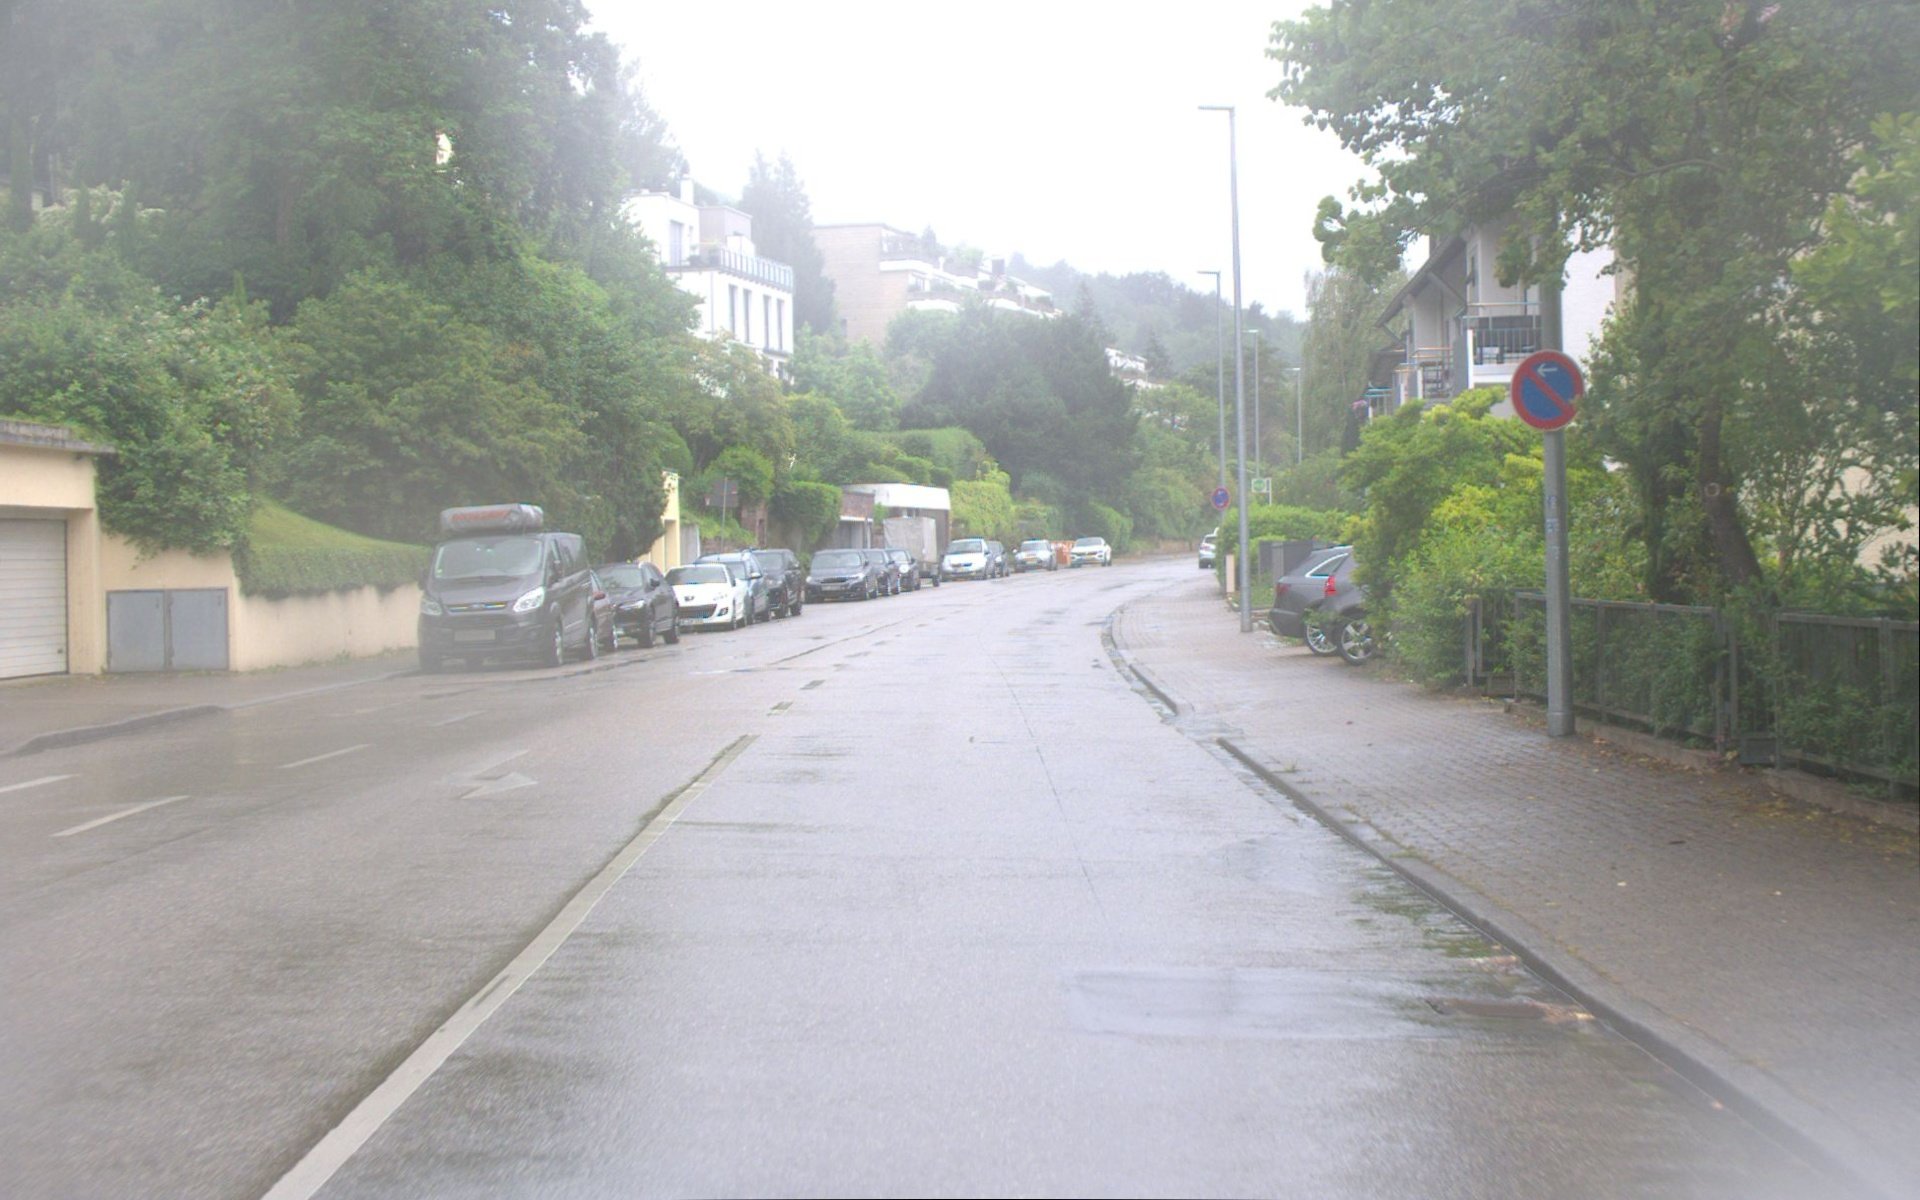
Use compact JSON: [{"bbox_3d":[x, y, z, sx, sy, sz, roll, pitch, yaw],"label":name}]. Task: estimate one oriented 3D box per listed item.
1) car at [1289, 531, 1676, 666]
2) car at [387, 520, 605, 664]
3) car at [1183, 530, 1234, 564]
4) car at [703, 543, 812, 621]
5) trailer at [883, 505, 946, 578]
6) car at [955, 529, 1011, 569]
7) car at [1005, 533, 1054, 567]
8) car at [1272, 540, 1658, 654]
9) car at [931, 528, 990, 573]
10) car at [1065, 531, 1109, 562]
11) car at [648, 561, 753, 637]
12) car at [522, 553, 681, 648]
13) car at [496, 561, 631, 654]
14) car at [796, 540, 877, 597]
[{"bbox_3d":[5.965,-0.026,39.409,3.995,1.452,1.768,0,2,35],"label":"car"},{"bbox_3d":[-6.669,-0.146,50.060,2.158,1.912,5.323,-2,1,3],"label":"car"},{"bbox_3d":[11.140,-2.388,153.921,1.790,1.455,4.306,-1,1,10],"label":"car"},{"bbox_3d":[-4.767,-0.450,81.592,1.874,1.620,4.593,-4,1,4],"label":"car"},{"bbox_3d":[-1.542,-2.029,117.757,1.537,2.391,3.072,-3,1,9],"label":"trailer"},{"bbox_3d":[0.928,-2.043,137.237,1.756,1.404,3.704,-4,1,7],"label":"car"},{"bbox_3d":[3.123,-2.249,154.404,1.756,1.397,3.769,-4,1,7],"label":"car"},{"bbox_3d":[6.273,-0.036,42.898,4.377,1.359,1.915,0,0,35],"label":"car"},{"bbox_3d":[0.029,-1.904,131.800,1.756,1.534,3.756,-4,1,7],"label":"car"},{"bbox_3d":[6.429,-2.692,173.283,1.756,1.492,4.219,-2,1,8],"label":"car"},{"bbox_3d":[-5.391,-0.047,71.727,1.716,1.360,4.084,-4,2,1],"label":"car"},{"bbox_3d":[-6.242,-0.015,60.351,1.908,1.475,4.755,-4,0,4],"label":"car"},{"bbox_3d":[-6.349,0.101,55.421,1.564,1.360,3.907,-3,1,1],"label":"car"},{"bbox_3d":[-3.556,-0.925,99.582,1.786,1.450,4.755,-4,1,4],"label":"car"}]
